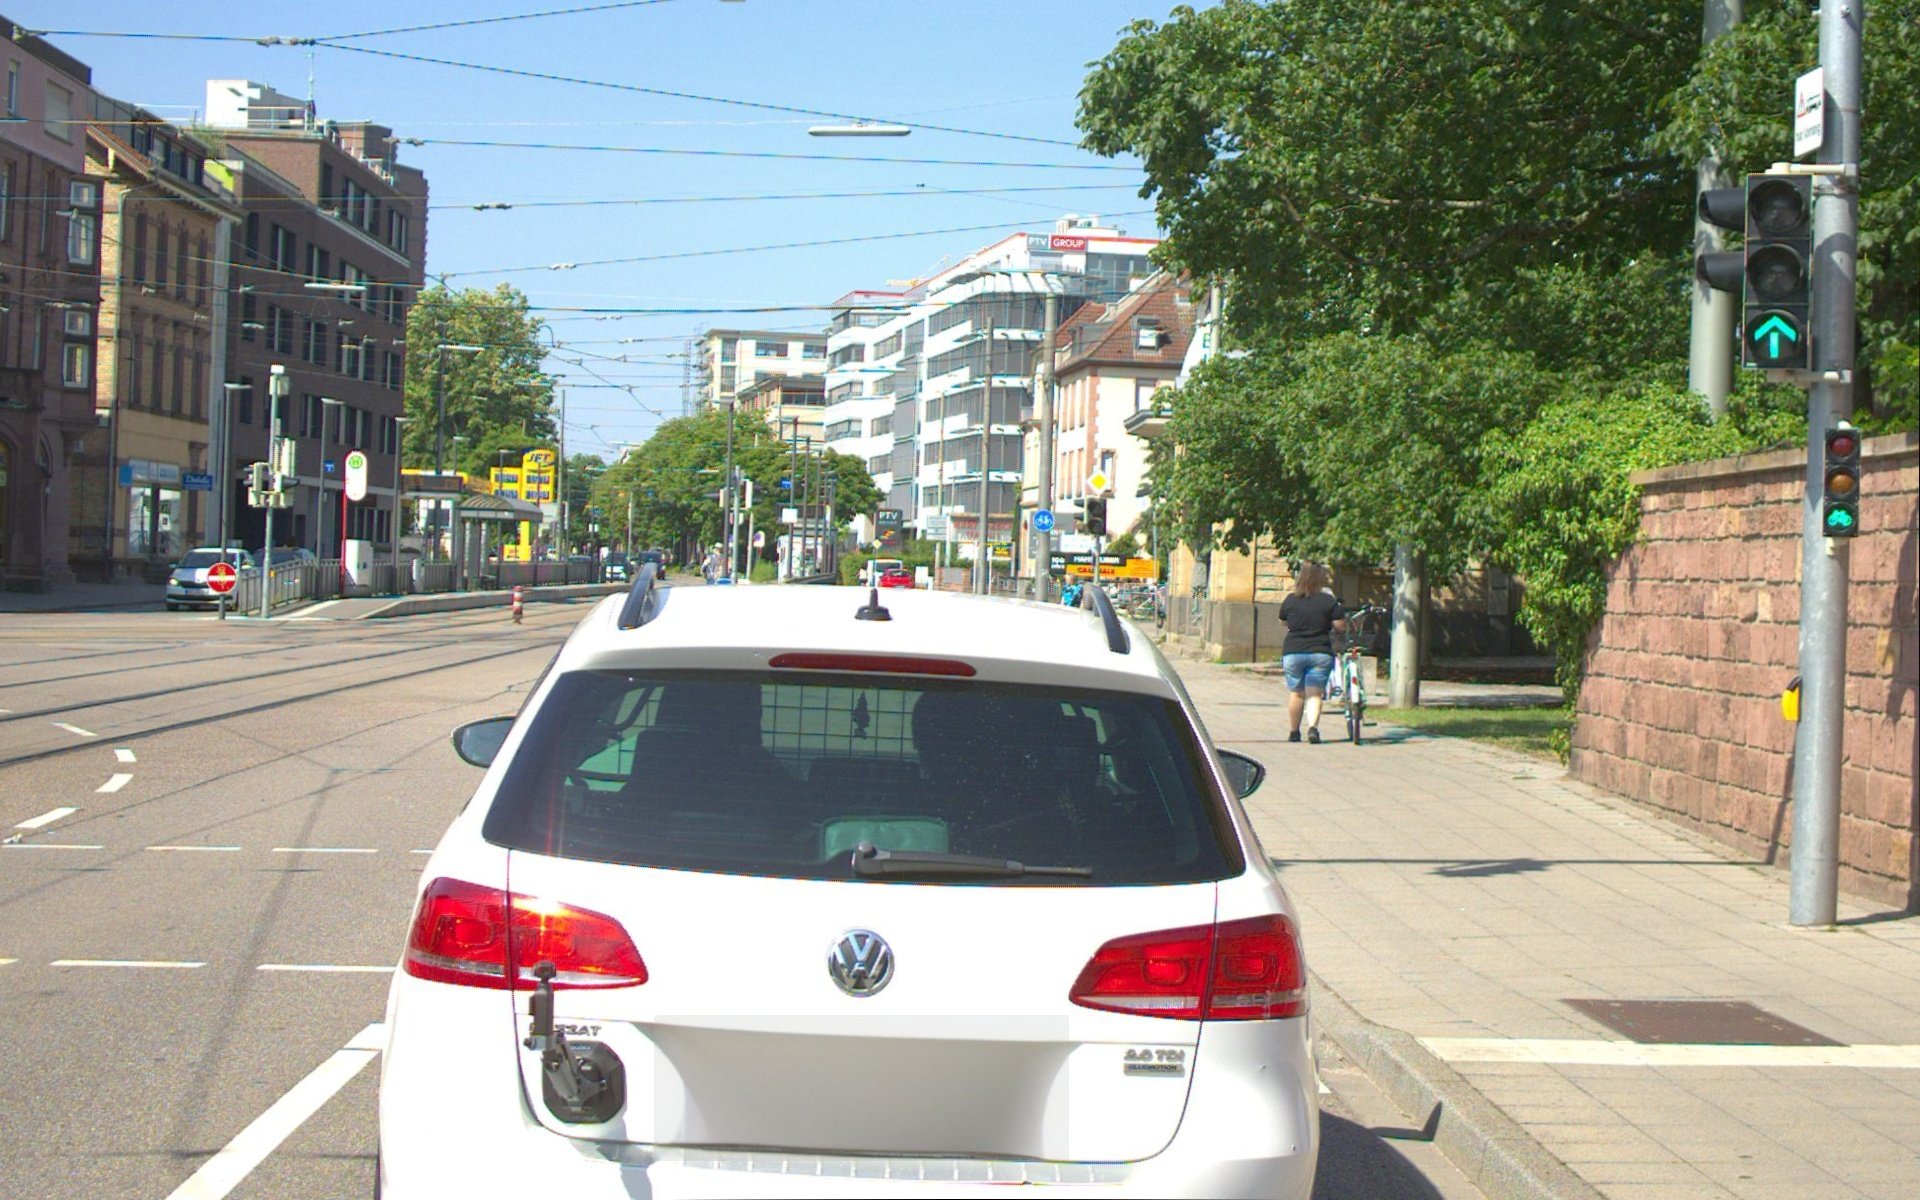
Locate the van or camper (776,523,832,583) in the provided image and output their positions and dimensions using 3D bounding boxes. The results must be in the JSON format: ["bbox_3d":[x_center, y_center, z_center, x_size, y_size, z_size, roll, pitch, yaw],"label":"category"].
[{"bbox_3d":[-8.585,-2.581,189.076,2.943,3.169,6.614,2,1,-3],"label":"van or camper"}]

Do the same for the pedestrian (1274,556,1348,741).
[{"bbox_3d":[2.954,0.403,28.988,0.540,1.543,0.663,0,1,-1],"label":"pedestrian"}]

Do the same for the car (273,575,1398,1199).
[{"bbox_3d":[-0.223,0.690,7.385,1.752,1.413,3.853,2,1,-1],"label":"car"}]

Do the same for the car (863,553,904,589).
[{"bbox_3d":[-4.402,-1.675,197.626,1.993,2.007,4.001,2,1,-5],"label":"car"}]

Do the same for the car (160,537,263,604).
[{"bbox_3d":[-17.430,-0.687,80.174,1.625,1.426,3.963,3,0,-2],"label":"car"}]

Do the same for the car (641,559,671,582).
[{"bbox_3d":[-19.976,-1.930,225.883,1.667,1.461,3.773,2,1,-1],"label":"car"}]

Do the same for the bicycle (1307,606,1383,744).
[{"bbox_3d":[3.238,0.615,28.849,0.536,1.107,1.806,1,0,9],"label":"bicycle"}]

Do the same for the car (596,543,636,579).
[{"bbox_3d":[-19.620,-2.242,196.268,1.993,2.007,4.000,1,0,-2],"label":"car"}]

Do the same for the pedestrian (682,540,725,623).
[{"bbox_3d":[-5.709,-0.412,76.536,0.826,1.803,0.833,2,0,0],"label":"pedestrian"}]

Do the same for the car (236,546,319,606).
[{"bbox_3d":[-17.436,-0.618,87.929,1.572,1.454,3.815,2,1,-4],"label":"car"}]

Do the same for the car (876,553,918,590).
[{"bbox_3d":[-3.545,-1.601,192.219,1.993,2.007,4.001,2,1,-5],"label":"car"}]

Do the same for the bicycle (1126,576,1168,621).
[{"bbox_3d":[4.896,-0.039,89.894,0.726,1.135,2.193,2,1,12],"label":"bicycle"}]

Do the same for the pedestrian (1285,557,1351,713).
[{"bbox_3d":[3.925,0.379,37.676,0.650,1.676,0.707,2,0,7],"label":"pedestrian"}]

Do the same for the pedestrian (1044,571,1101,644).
[{"bbox_3d":[2.390,0.162,72.813,0.858,1.505,0.780,2,1,39],"label":"pedestrian"}]
